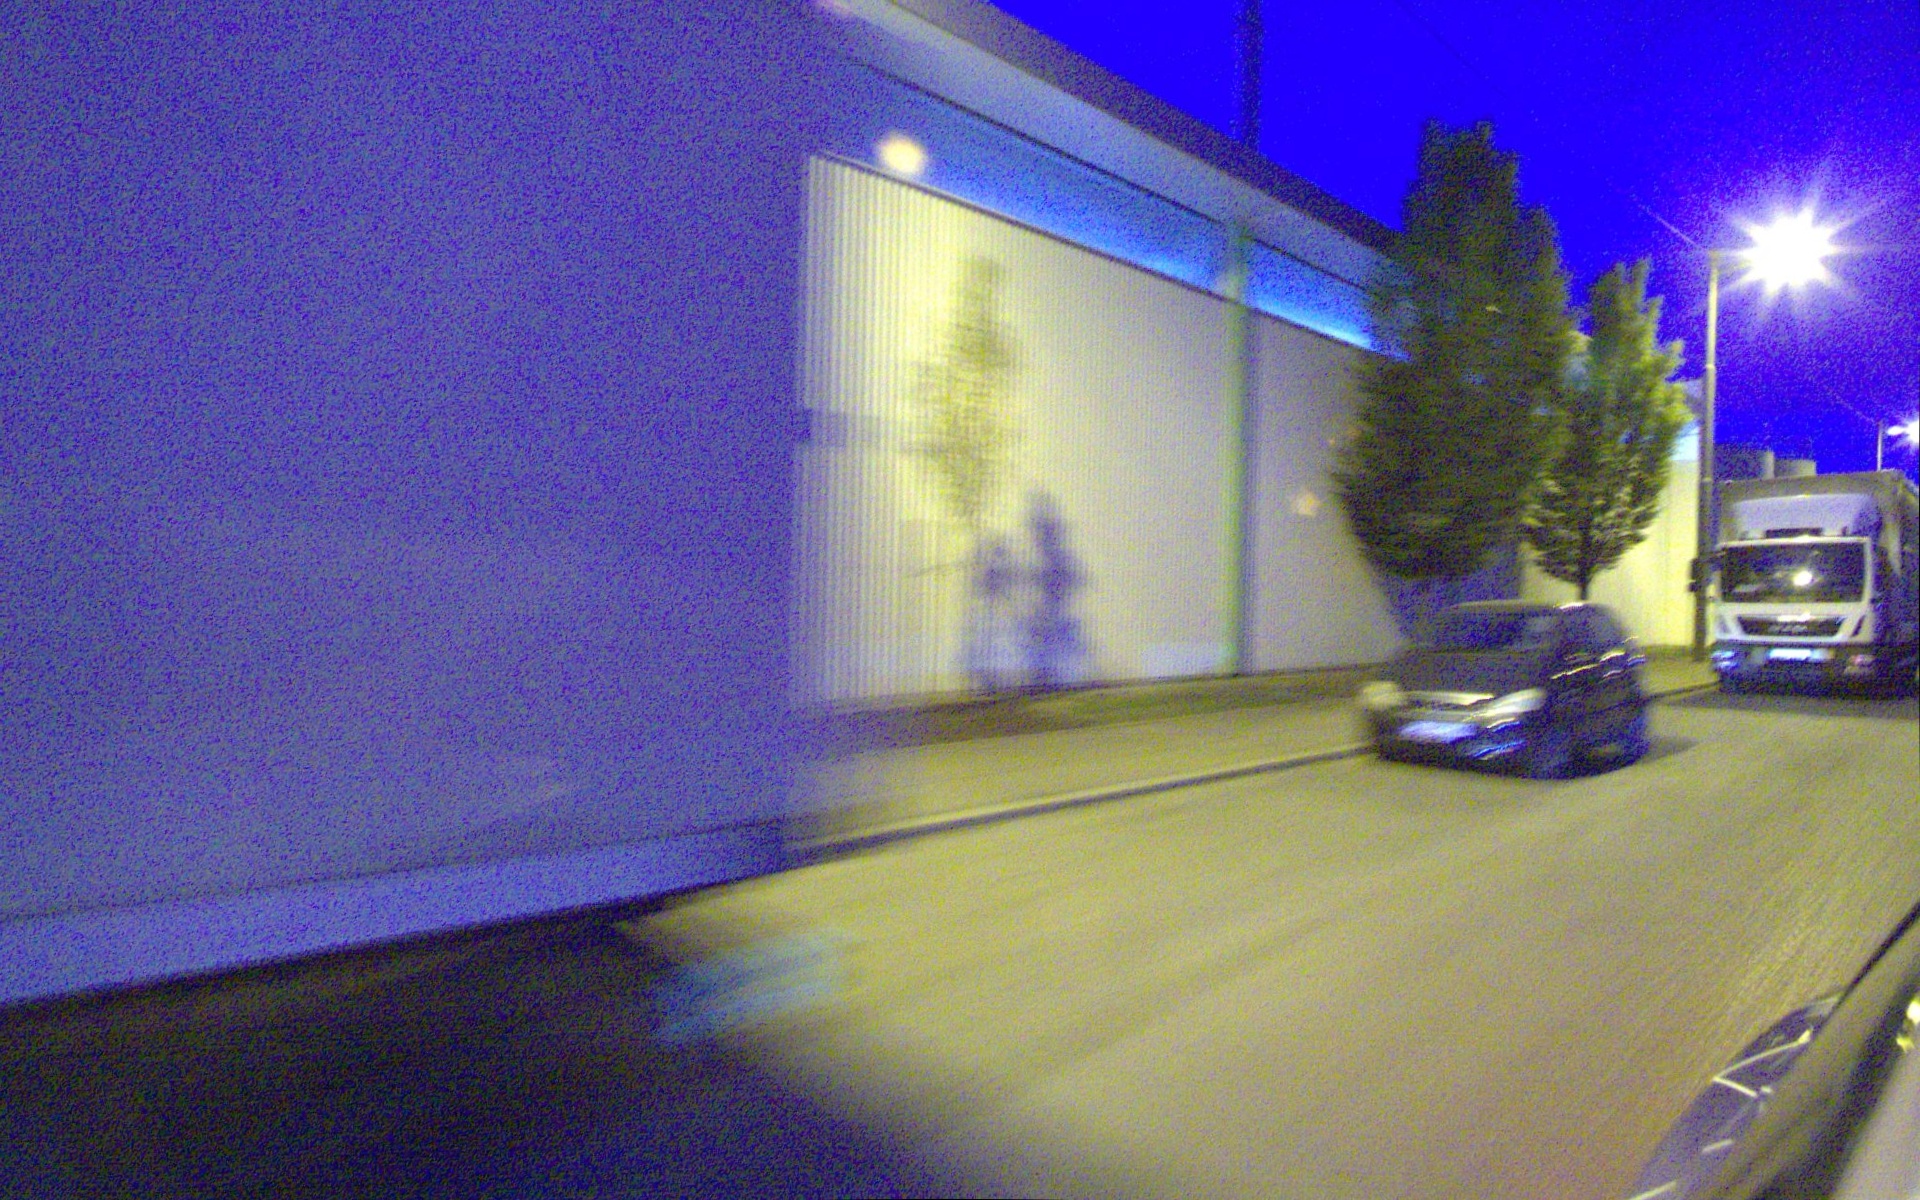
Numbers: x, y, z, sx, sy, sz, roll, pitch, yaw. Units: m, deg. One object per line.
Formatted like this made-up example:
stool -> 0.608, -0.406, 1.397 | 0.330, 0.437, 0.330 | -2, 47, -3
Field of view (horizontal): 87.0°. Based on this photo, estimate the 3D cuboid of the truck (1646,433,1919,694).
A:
truck -> 17.304, -0.652, 20.384 | 10.168, 4.032, 3.525 | 0, 2, -43

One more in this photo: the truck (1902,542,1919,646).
truck -> 41.916, -0.161, 41.723 | 10.152, 4.032, 2.838 | 0, 2, -38

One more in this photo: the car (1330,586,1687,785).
car -> 5.537, 0.680, 10.059 | 3.750, 1.537, 1.857 | 0, 2, -40

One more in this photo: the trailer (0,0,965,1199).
trailer -> -3.690, -0.350, 1.608 | 7.678, 3.508, 2.689 | 0, 0, -43
